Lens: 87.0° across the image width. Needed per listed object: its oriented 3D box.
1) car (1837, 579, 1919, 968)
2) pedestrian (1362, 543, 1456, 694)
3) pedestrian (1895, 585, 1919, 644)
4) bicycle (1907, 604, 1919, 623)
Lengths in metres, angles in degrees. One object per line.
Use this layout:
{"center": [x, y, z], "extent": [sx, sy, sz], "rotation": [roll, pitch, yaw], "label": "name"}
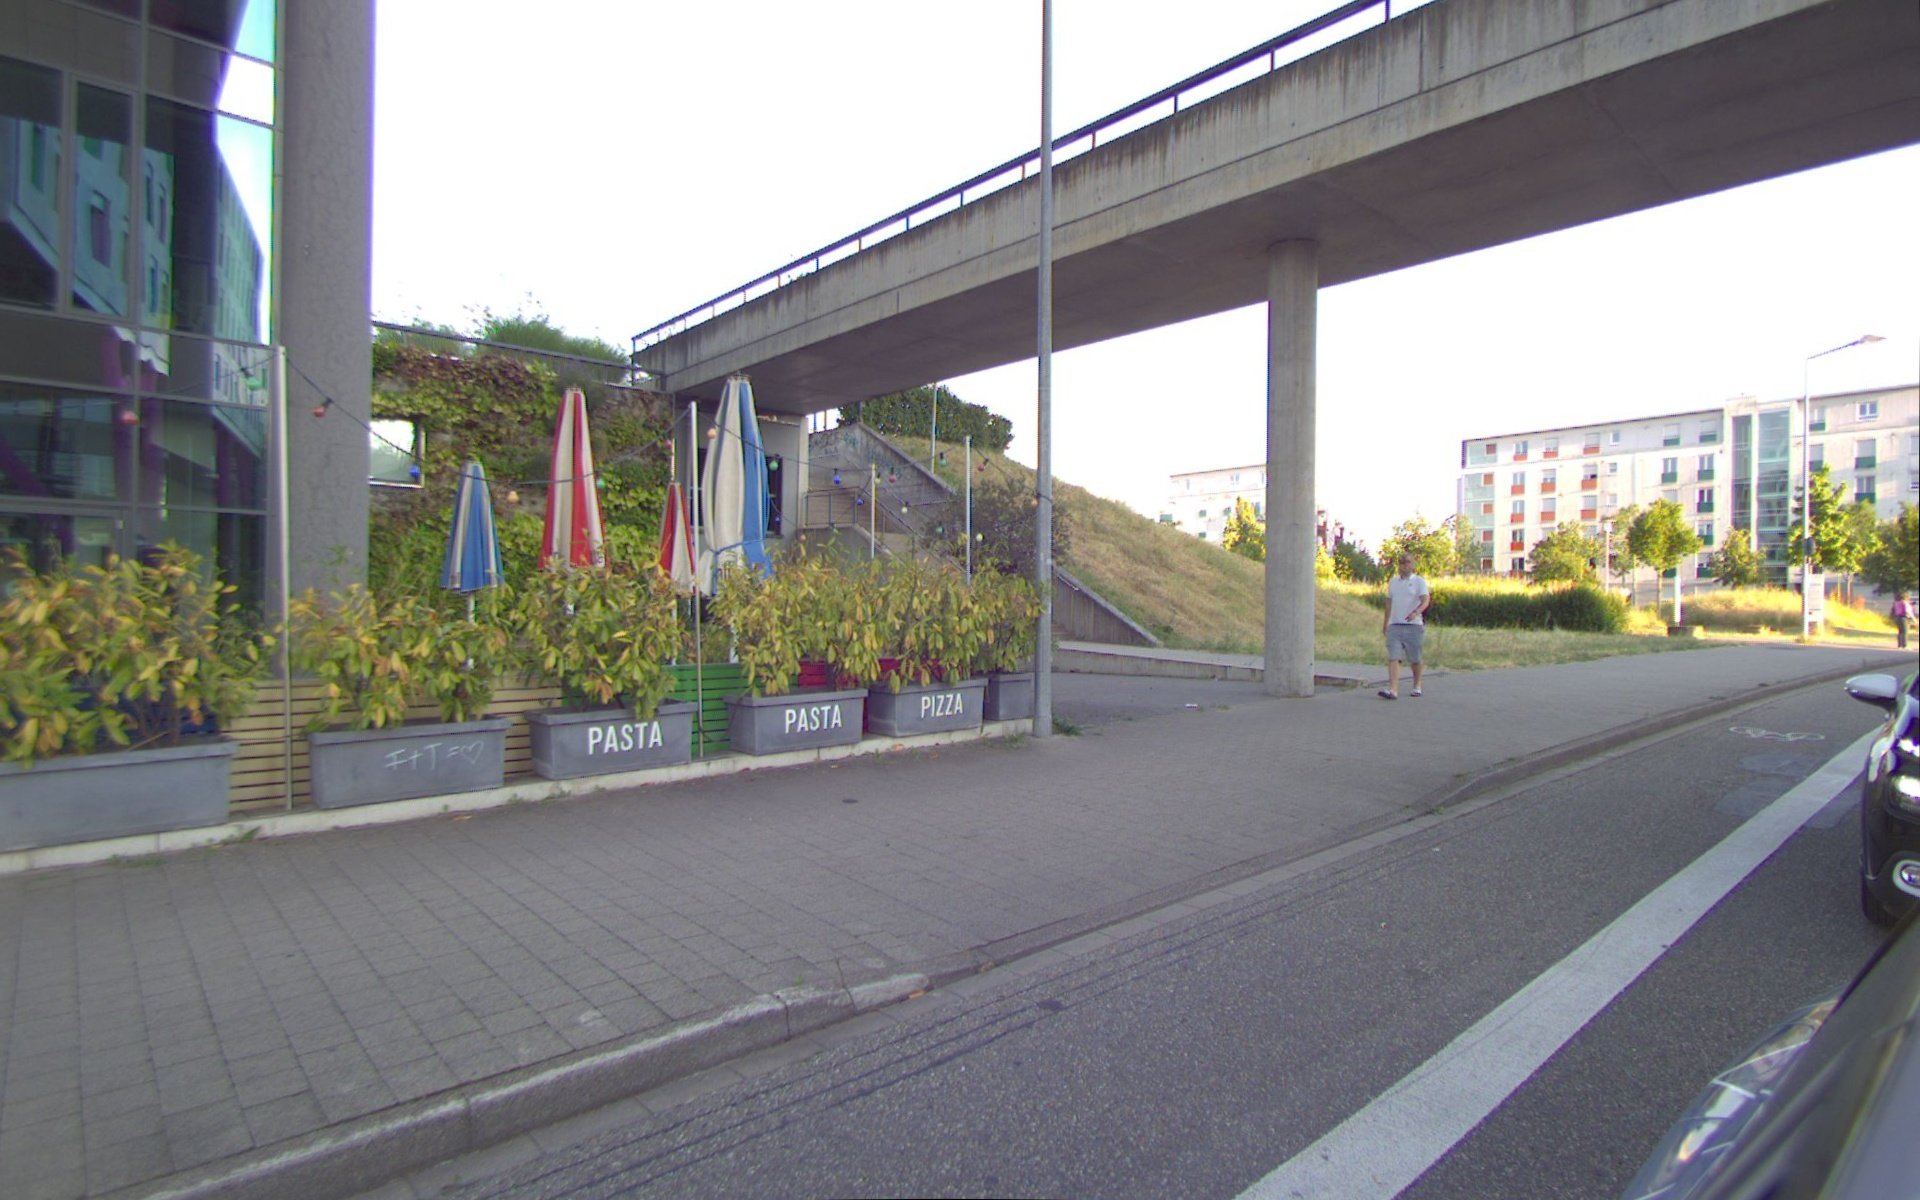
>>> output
{"center": [5.551, 0.671, 4.665], "extent": [3.930, 1.482, 1.738], "rotation": [0, 0, -41], "label": "car"}
{"center": [5.462, 0.216, 12.315], "extent": [0.890, 1.746, 0.736], "rotation": [1, -1, -40], "label": "pedestrian"}
{"center": [27.631, 0.417, 29.258], "extent": [0.844, 1.650, 0.737], "rotation": [1, 2, -40], "label": "pedestrian"}
{"center": [61.955, 0.873, 64.158], "extent": [0.885, 1.163, 3.493], "rotation": [0, 0, 6], "label": "bicycle"}
